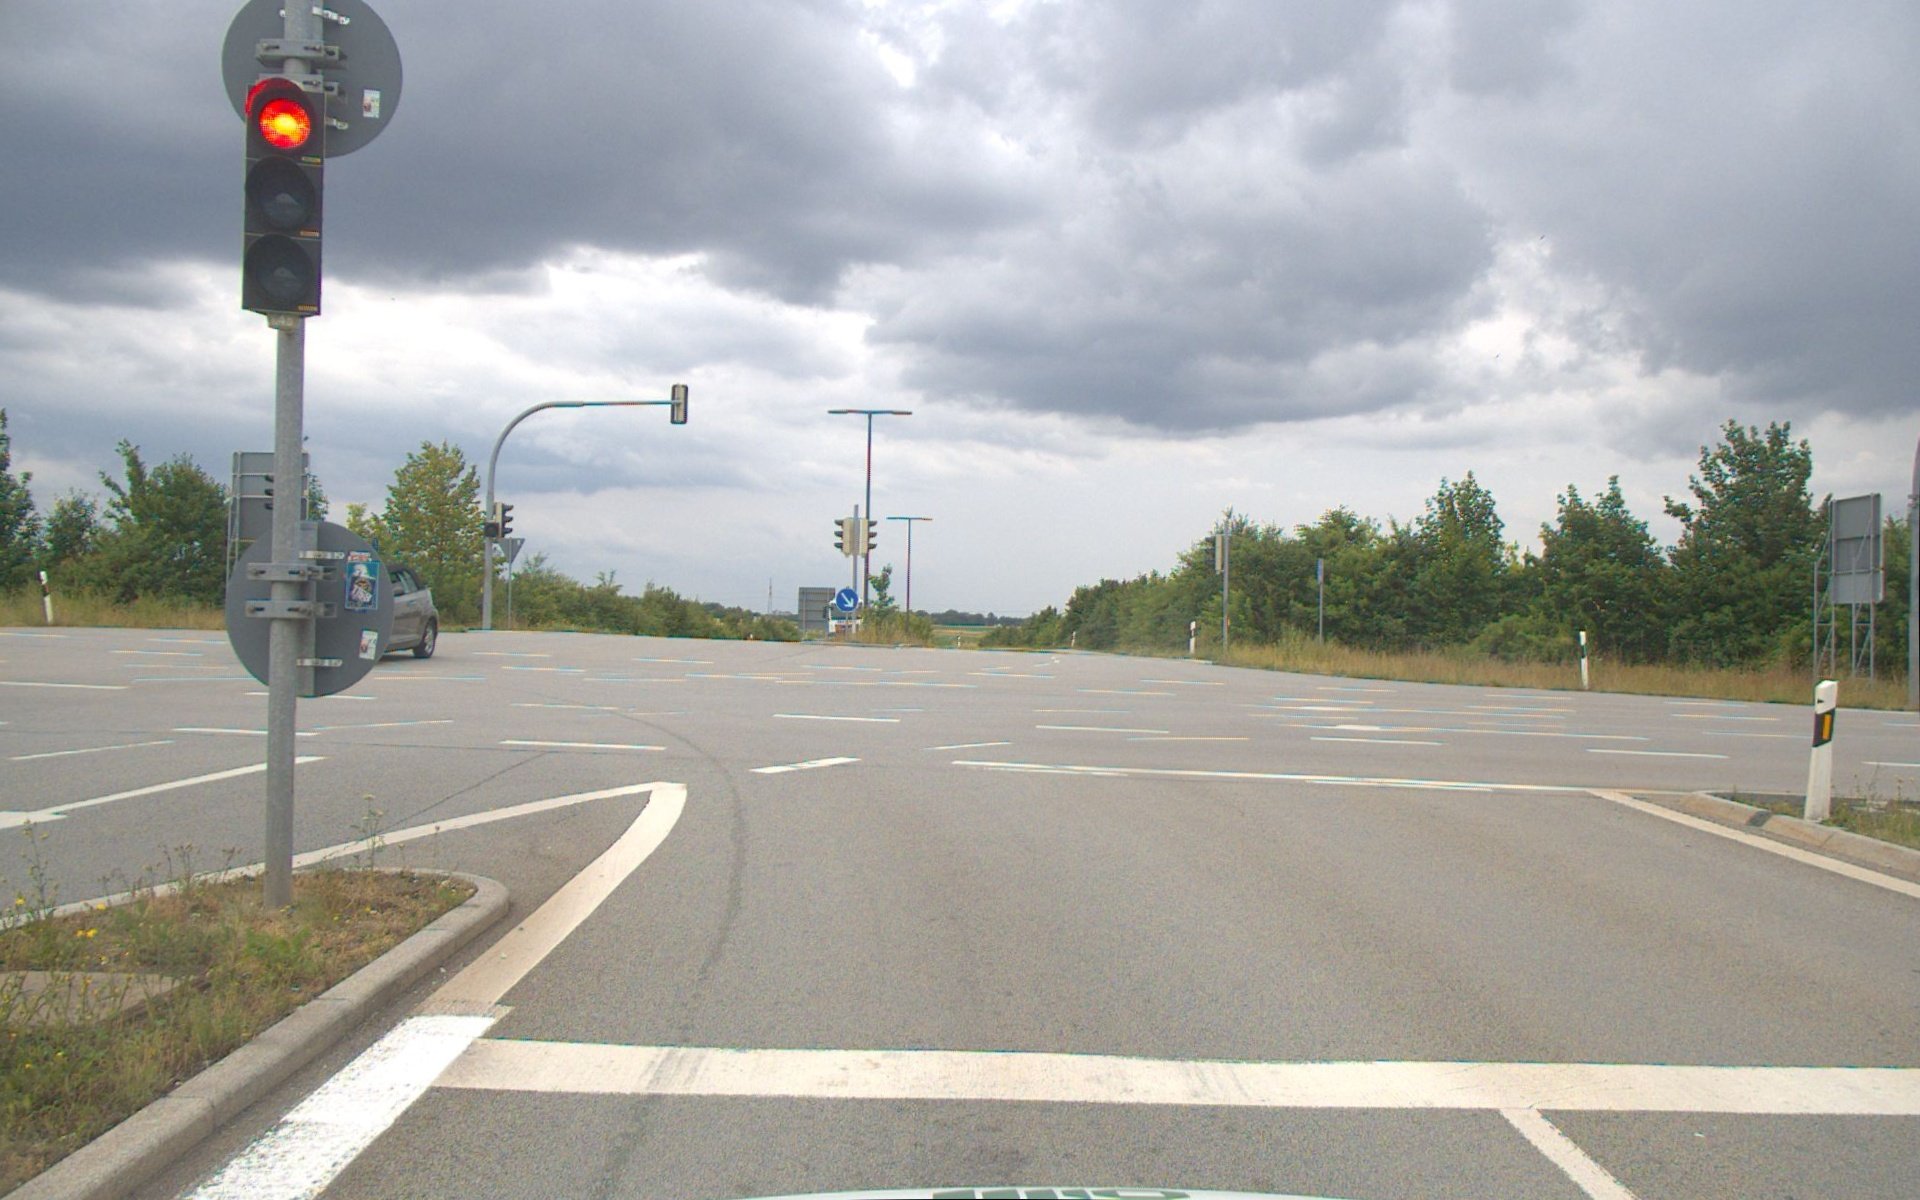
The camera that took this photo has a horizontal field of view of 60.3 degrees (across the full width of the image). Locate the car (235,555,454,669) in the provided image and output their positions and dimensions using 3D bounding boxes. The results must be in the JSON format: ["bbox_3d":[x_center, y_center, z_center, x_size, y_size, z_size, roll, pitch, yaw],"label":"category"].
[{"bbox_3d":[-9.274,0.128,25.299,1.773,1.546,4.242,2,1,-1],"label":"car"}]

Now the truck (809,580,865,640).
[{"bbox_3d":[-7.558,0.701,102.764,2.811,3.468,8.648,1,-1,0],"label":"truck"}]
